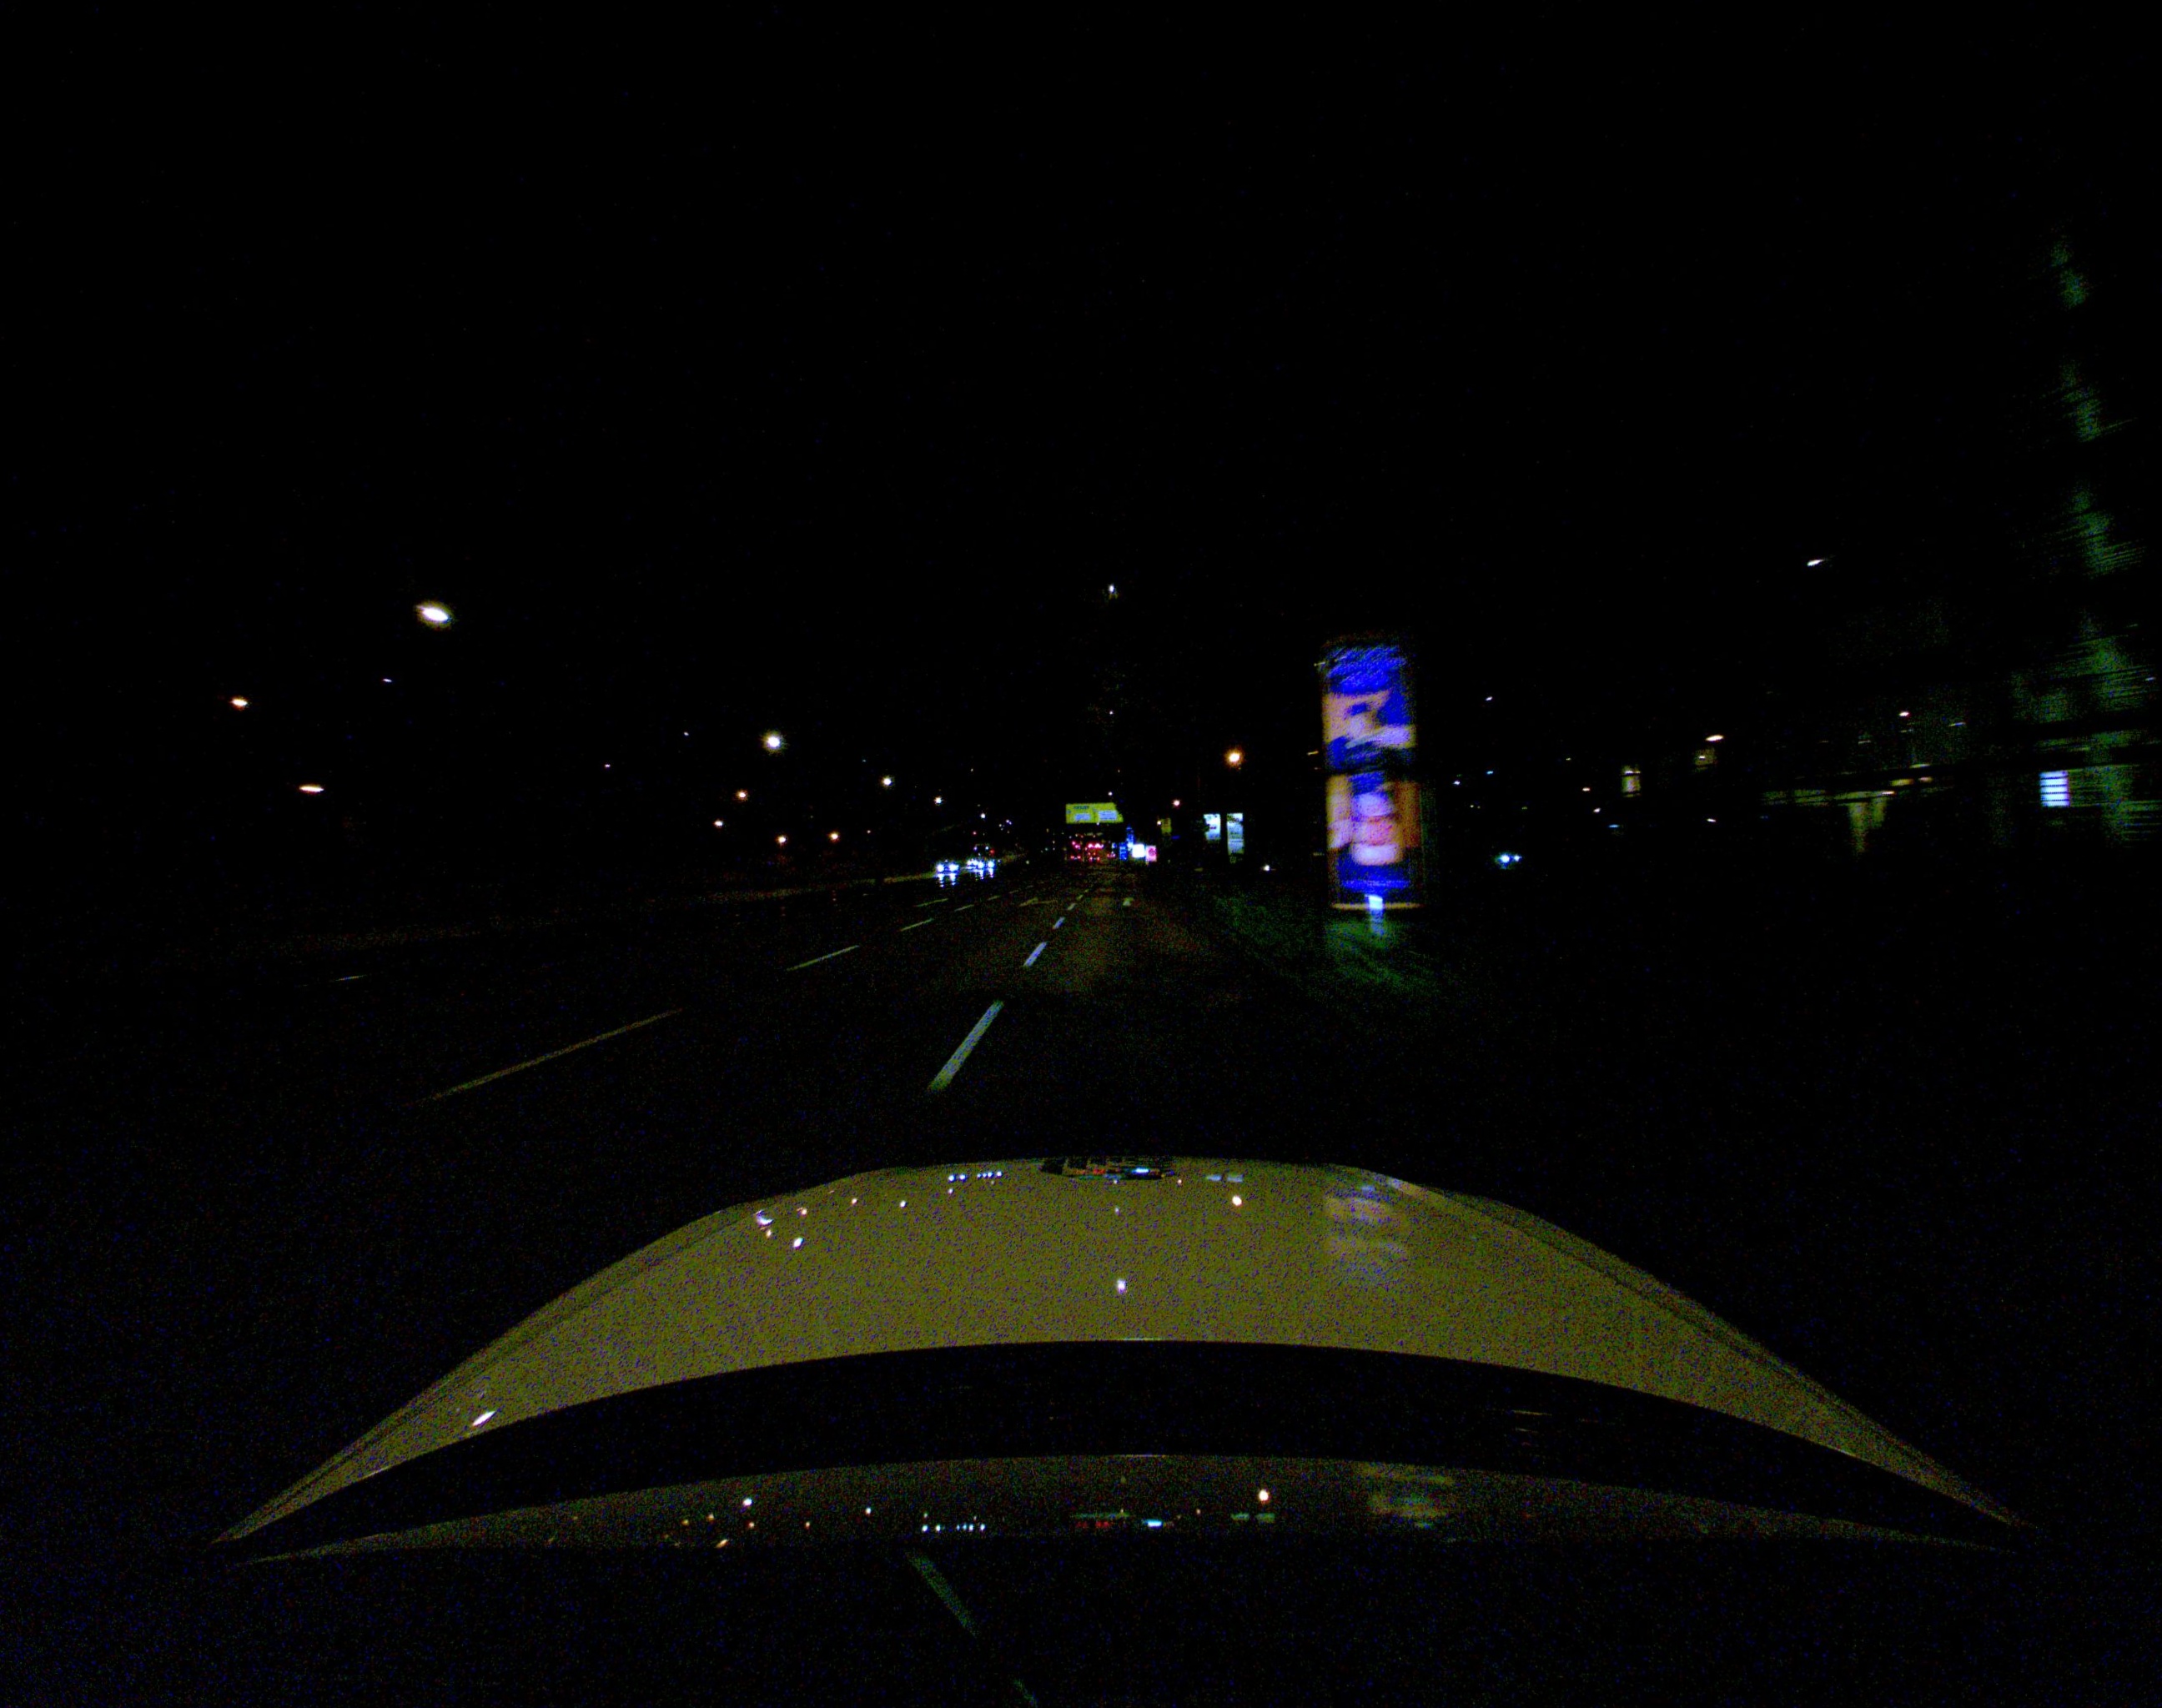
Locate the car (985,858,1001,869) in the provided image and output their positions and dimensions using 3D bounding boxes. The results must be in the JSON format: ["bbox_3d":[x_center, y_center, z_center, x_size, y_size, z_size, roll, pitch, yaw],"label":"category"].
[{"bbox_3d":[-13.336,1.438,124.077,1.904,1.473,3.773,-1,1,1],"label":"car"}]

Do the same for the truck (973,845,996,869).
[{"bbox_3d":[-16.111,0.453,135.833,3.029,3.819,4.938,-1,1,2],"label":"truck"}]

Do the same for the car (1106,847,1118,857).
[{"bbox_3d":[7.009,-0.388,183.513,2.416,2.113,4.833,-1,1,5],"label":"car"}]

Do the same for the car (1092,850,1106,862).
[{"bbox_3d":[3.361,0.425,152.444,2.345,2.129,4.833,-1,1,5],"label":"car"}]

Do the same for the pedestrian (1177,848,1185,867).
[{"bbox_3d":[11.605,0.402,94.430,0.759,2.063,0.644,-1,0,2],"label":"pedestrian"}]

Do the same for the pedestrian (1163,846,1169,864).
[{"bbox_3d":[11.691,0.184,112.451,0.741,2.435,0.781,-1,0,4],"label":"pedestrian"}]

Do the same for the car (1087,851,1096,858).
[{"bbox_3d":[2.415,0.066,191.434,1.986,1.553,4.002,-2,0,2],"label":"car"}]

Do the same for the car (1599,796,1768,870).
[{"bbox_3d":[16.243,-0.576,21.980,3.779,1.862,1.986,-2,1,-22],"label":"car"}]

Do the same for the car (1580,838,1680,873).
[{"bbox_3d":[18.856,0.034,27.992,3.174,1.085,1.292,-2,1,-22],"label":"car"}]

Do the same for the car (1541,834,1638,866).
[{"bbox_3d":[19.156,-0.149,30.674,3.439,1.094,1.312,-2,1,-22],"label":"car"}]

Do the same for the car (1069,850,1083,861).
[{"bbox_3d":[-1.000,0.358,157.974,2.252,2.013,4.833,-1,1,5],"label":"car"}]

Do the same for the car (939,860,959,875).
[{"bbox_3d":[-16.485,1.709,101.777,1.856,1.750,3.702,-1,1,1],"label":"car"}]
